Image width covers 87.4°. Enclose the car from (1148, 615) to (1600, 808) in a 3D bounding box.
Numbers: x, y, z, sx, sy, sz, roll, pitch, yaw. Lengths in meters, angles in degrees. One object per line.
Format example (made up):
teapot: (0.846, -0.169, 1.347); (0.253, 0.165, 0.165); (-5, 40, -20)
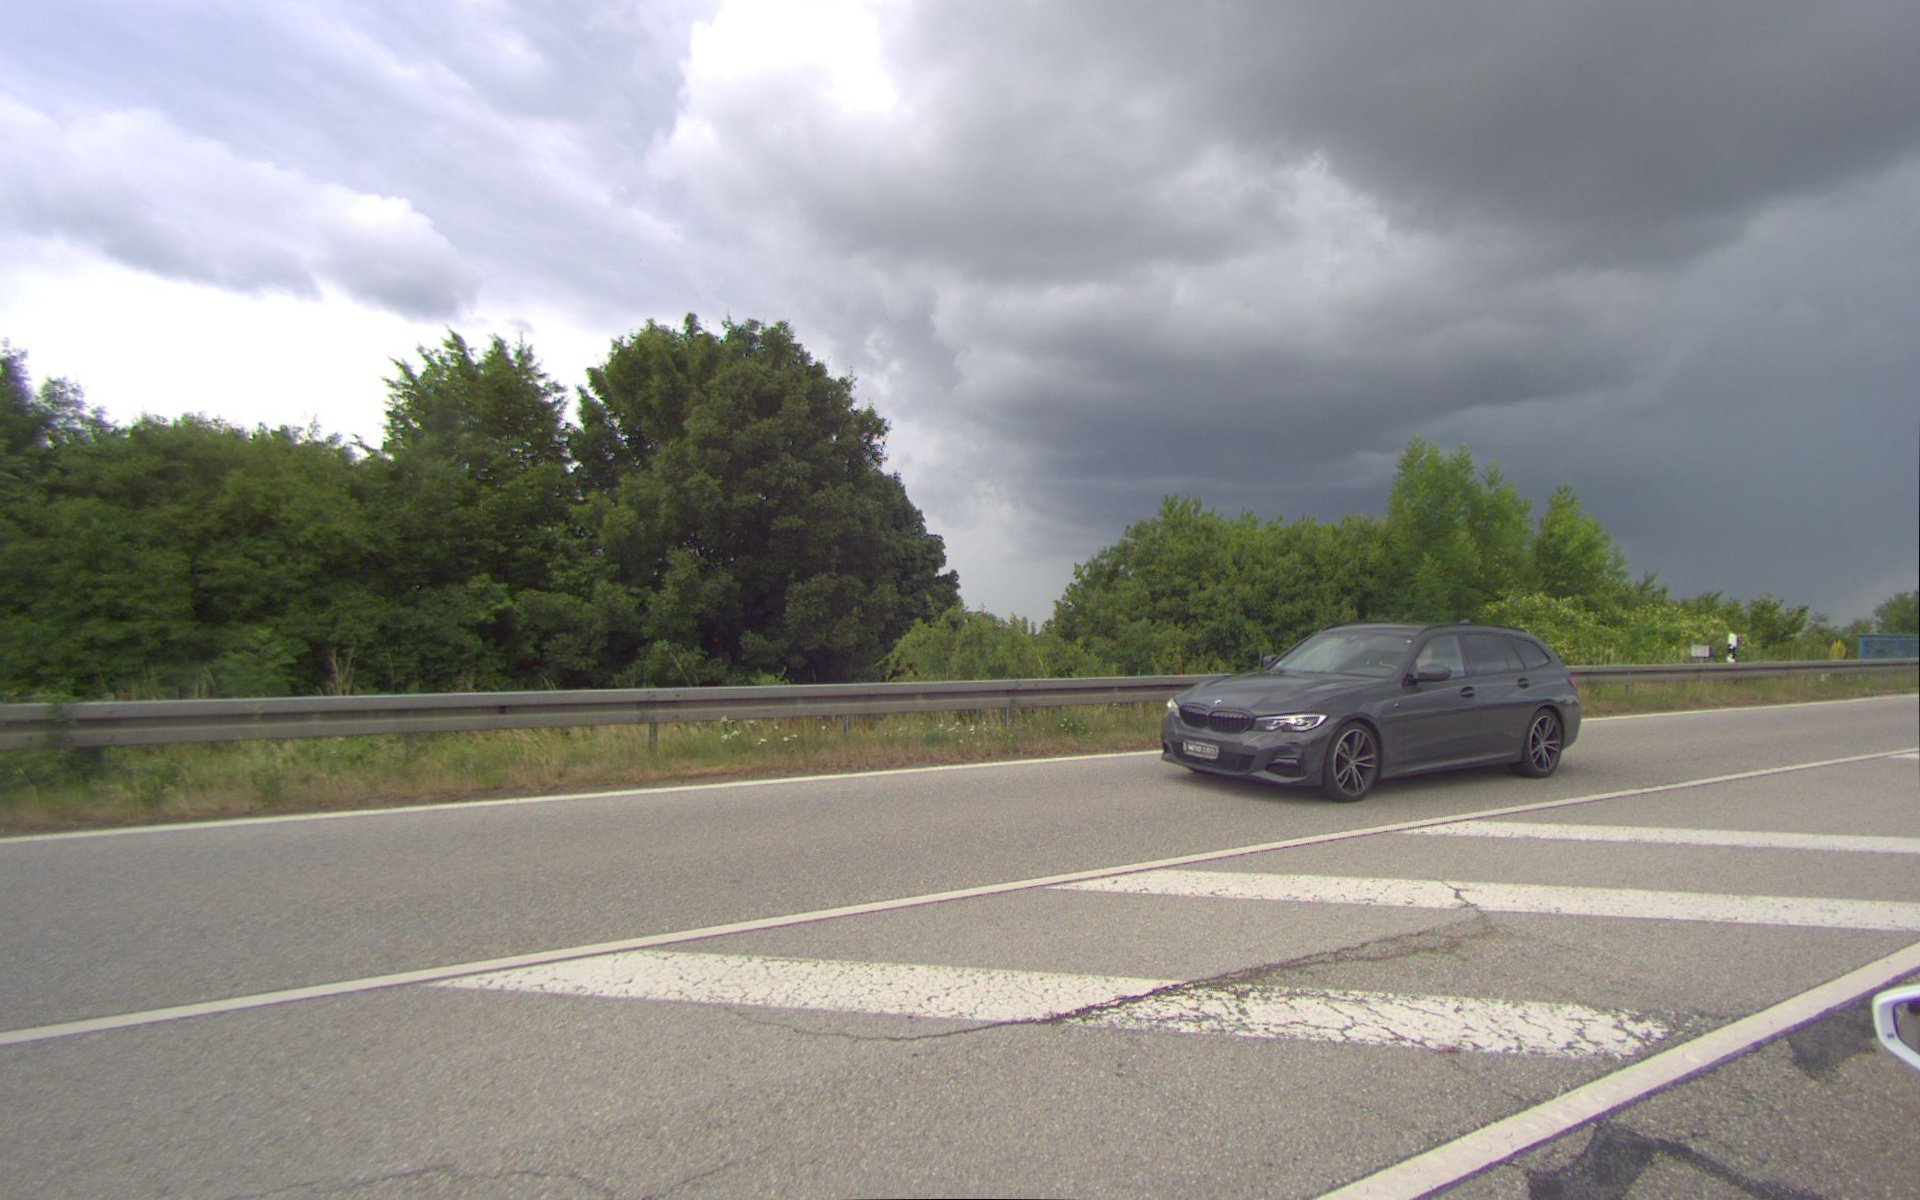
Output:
car: (4.045, 0.915, 9.585); (4.396, 1.469, 1.790); (2, -2, -32)
